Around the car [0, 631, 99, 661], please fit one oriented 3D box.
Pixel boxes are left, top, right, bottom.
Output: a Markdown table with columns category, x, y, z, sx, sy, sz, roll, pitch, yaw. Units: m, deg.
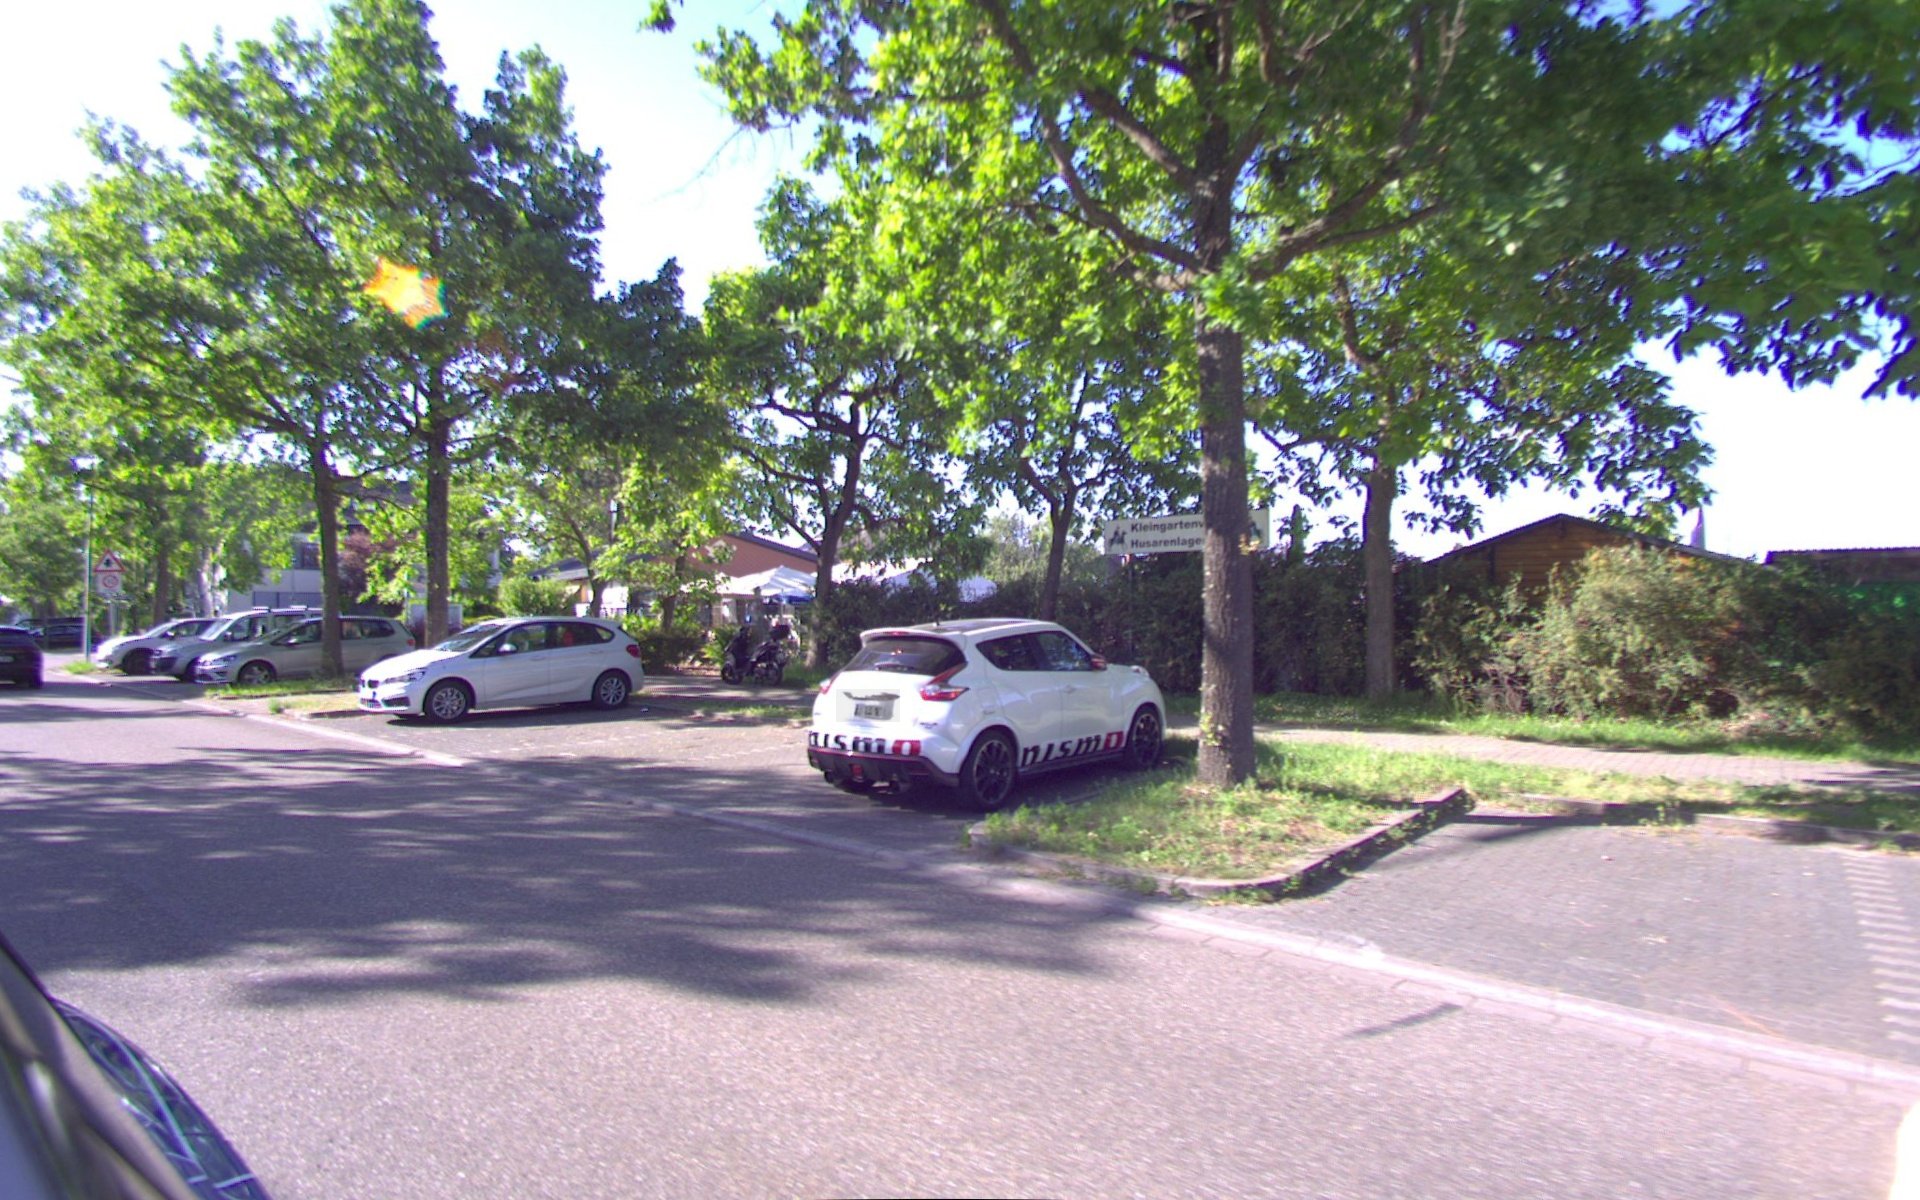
| category | x | y | z | sx | sy | sz | roll | pitch | yaw |
| --- | --- | --- | --- | --- | --- | --- | --- | --- | --- |
| car | -47.682 | 2.370 | 52.890 | 3.978 | 1.490 | 1.943 | 2 | -3 | -43 |

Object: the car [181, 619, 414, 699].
| category | x | y | z | sx | sy | sz | roll | pitch | yaw |
| --- | --- | --- | --- | --- | --- | --- | --- | --- | --- |
| car | -14.917 | 1.253 | 22.948 | 1.865 | 1.568 | 4.092 | -2 | -1 | 42 |

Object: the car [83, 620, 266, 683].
| category | x | y | z | sx | sy | sz | roll | pitch | yaw |
| --- | --- | --- | --- | --- | --- | --- | --- | --- | --- |
| car | -23.022 | 1.459 | 29.767 | 1.876 | 1.655 | 4.019 | -2 | -1 | 43 |

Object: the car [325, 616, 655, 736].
| category | x | y | z | sx | sy | sz | roll | pitch | yaw |
| --- | --- | --- | --- | --- | --- | --- | --- | --- | --- |
| car | -7.432 | 1.099 | 16.320 | 2.088 | 1.568 | 4.365 | -2 | -1 | 42 |

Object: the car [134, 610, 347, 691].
| category | x | y | z | sx | sy | sz | roll | pitch | yaw |
| --- | --- | --- | --- | --- | --- | --- | --- | --- | --- |
| car | -18.739 | 1.244 | 26.496 | 1.997 | 1.898 | 4.184 | -2 | -1 | 40 |

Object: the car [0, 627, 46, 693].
| category | x | y | z | sx | sy | sz | roll | pitch | yaw |
| --- | --- | --- | --- | --- | --- | --- | --- | --- | --- |
| car | -22.517 | 1.344 | 23.153 | 4.422 | 1.413 | 1.667 | -2 | -3 | 39 |

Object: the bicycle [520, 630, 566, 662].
| category | x | y | z | sx | sy | sz | roll | pitch | yaw |
| --- | --- | --- | --- | --- | --- | --- | --- | --- | --- |
| bicycle | -14.513 | 1.590 | 35.184 | 1.880 | 1.096 | 0.633 | -1 | -2 | 38 |

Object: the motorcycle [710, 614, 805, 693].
| category | x | y | z | sx | sy | sz | roll | pitch | yaw |
| --- | --- | --- | --- | --- | --- | --- | --- | --- | --- |
| motorcycle | -3.996 | 1.024 | 19.889 | 1.990 | 1.443 | 0.730 | -2 | 1 | 41 |

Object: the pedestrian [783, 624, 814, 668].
| category | x | y | z | sx | sy | sz | roll | pitch | yaw |
| --- | --- | --- | --- | --- | --- | --- | --- | --- | --- |
| pedestrian | -5.335 | 1.509 | 33.486 | 0.661 | 1.425 | 0.863 | -1 | -2 | 21 |

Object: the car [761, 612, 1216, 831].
| category | x | y | z | sx | sy | sz | roll | pitch | yaw |
| --- | --- | --- | --- | --- | --- | --- | --- | --- | --- |
| car | 0.493 | 0.922 | 9.657 | 2.086 | 1.522 | 4.368 | -2 | -1 | 40 |
